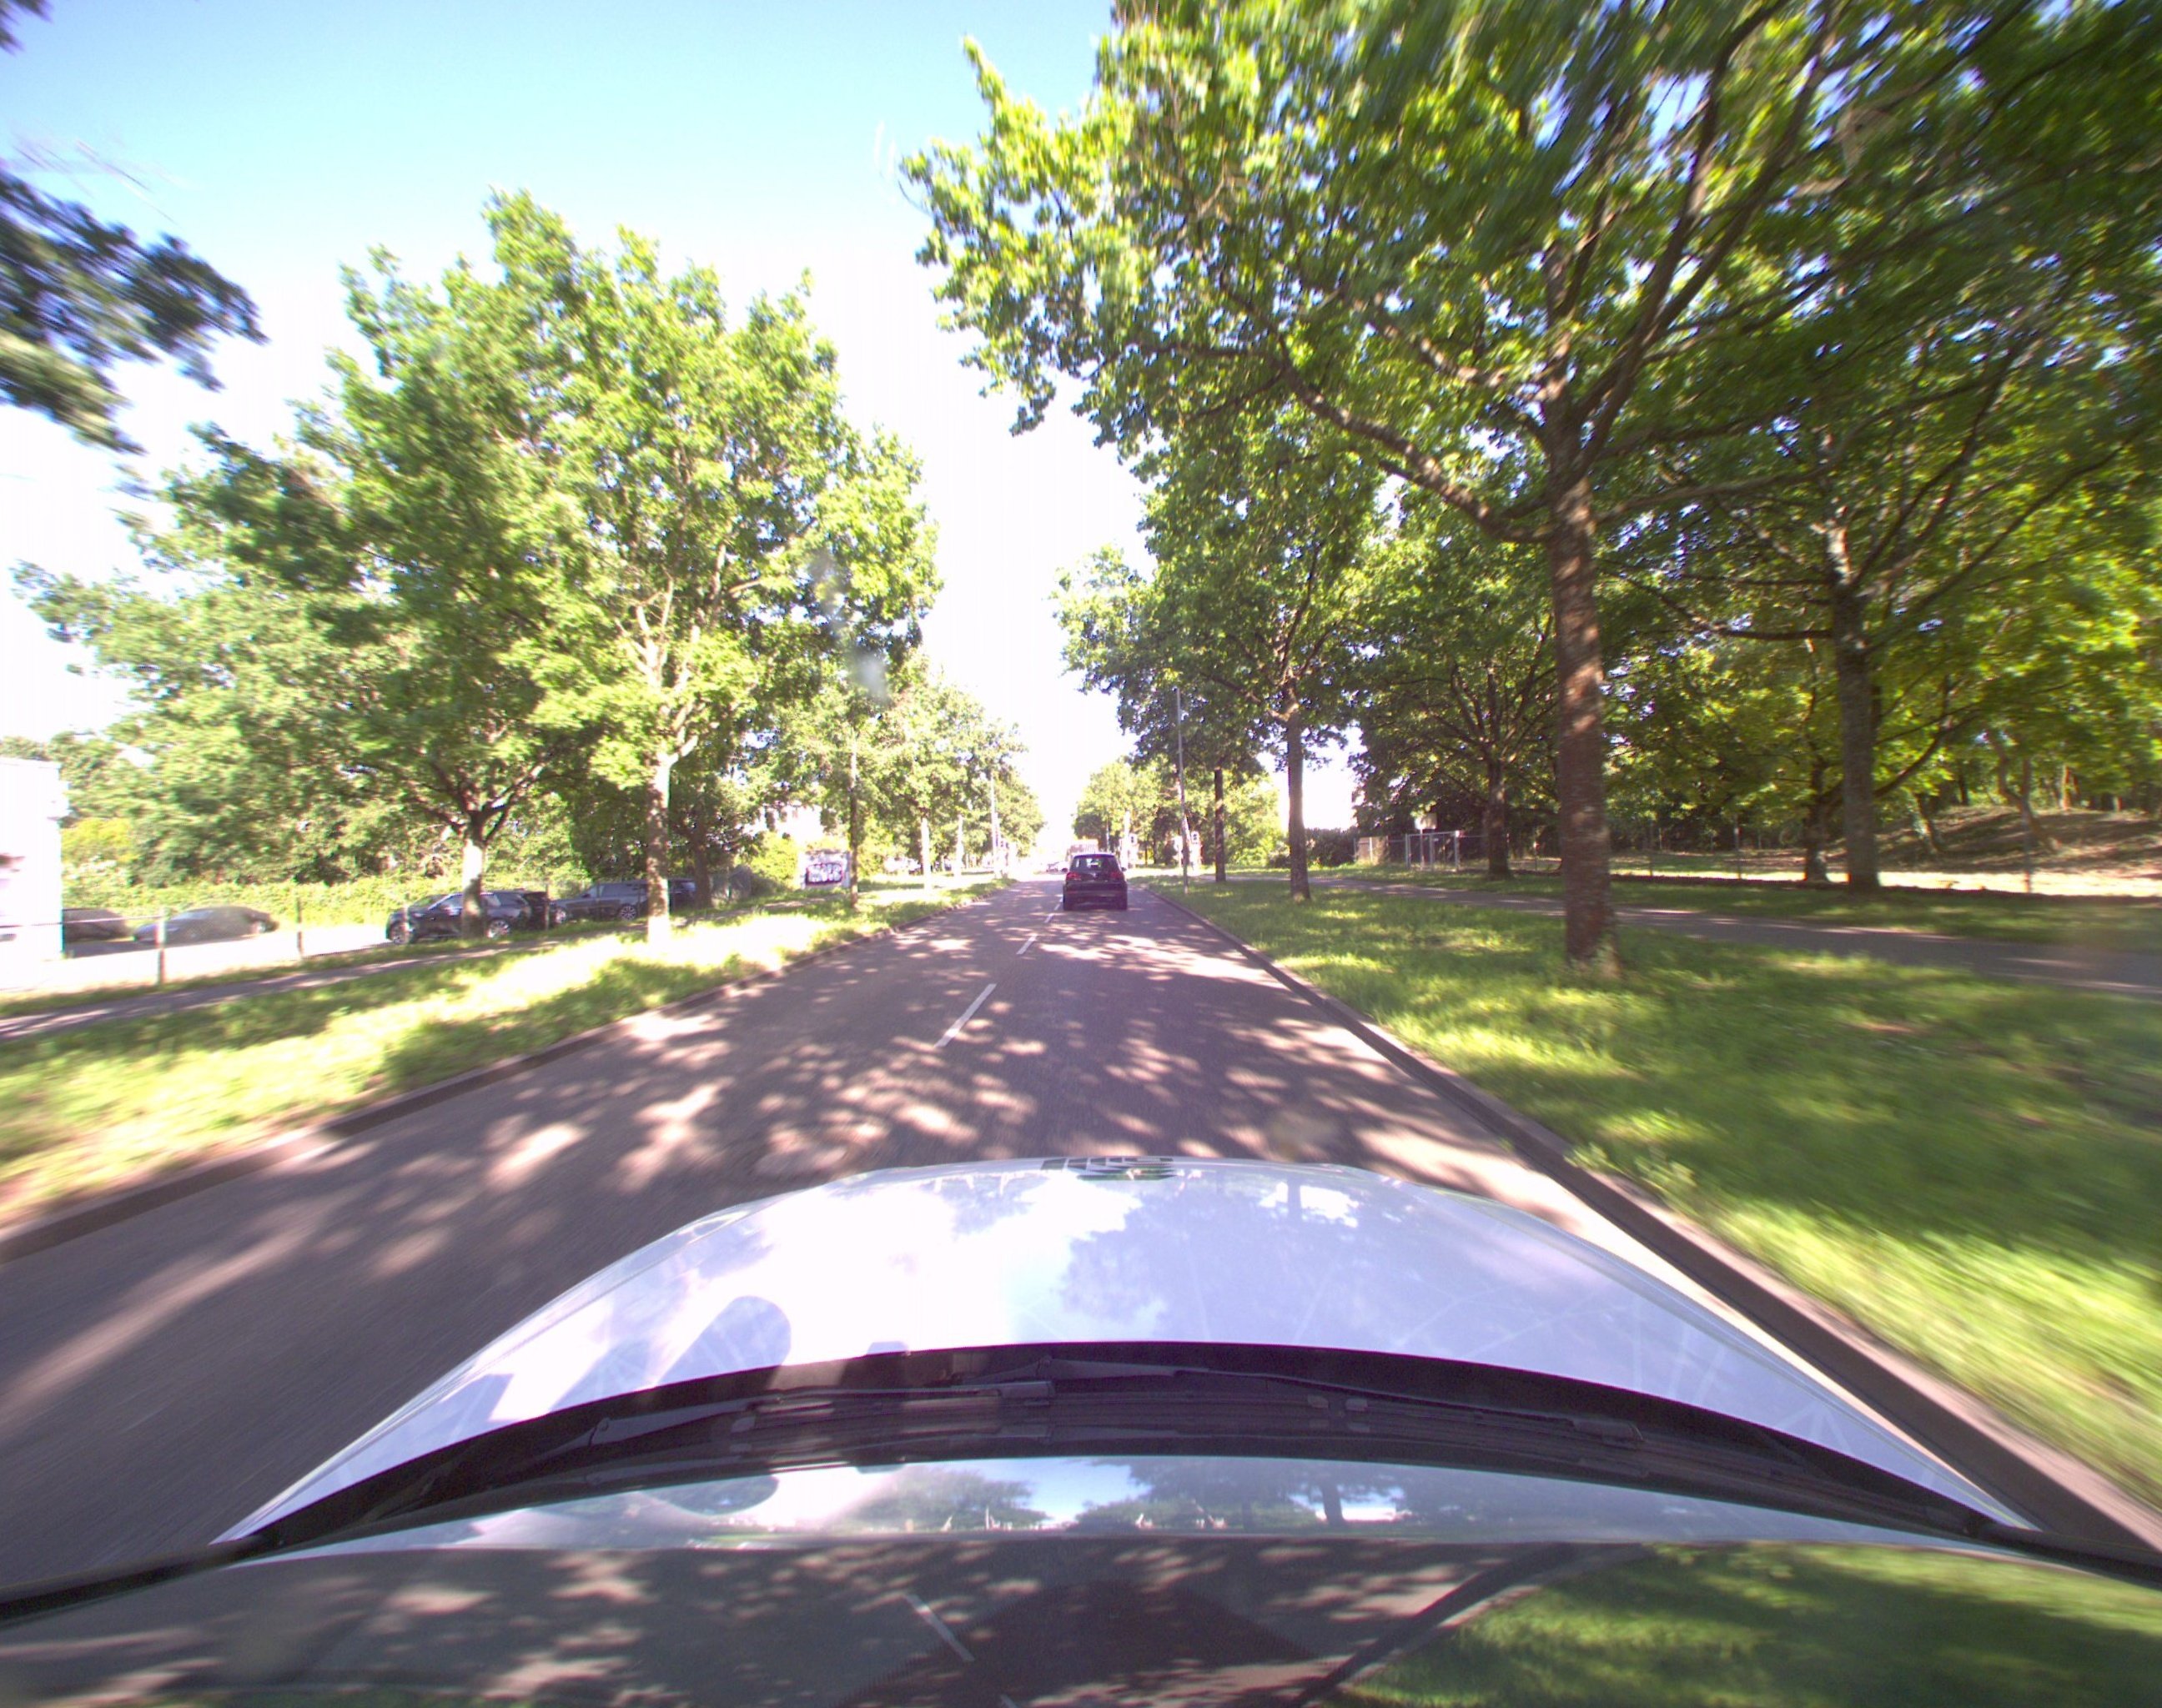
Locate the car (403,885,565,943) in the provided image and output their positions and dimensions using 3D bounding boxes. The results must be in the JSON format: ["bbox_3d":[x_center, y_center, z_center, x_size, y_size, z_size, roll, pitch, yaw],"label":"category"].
[{"bbox_3d":[-20.304,2.021,27.877,3.981,1.801,1.996,0,0,-5],"label":"car"}]

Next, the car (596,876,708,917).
[{"bbox_3d":[-20.212,1.972,38.509,4.181,1.801,1.998,0,0,-3],"label":"car"}]

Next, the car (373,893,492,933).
[{"bbox_3d":[-30.740,2.760,38.845,1.990,1.566,4.878,0,0,-4],"label":"car"}]

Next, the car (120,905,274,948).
[{"bbox_3d":[-40.738,3.297,37.762,1.990,1.566,4.878,0,0,-4],"label":"car"}]

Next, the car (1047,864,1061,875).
[{"bbox_3d":[-3.768,2.147,112.782,1.559,1.504,4.003,0,0,3],"label":"car"}]

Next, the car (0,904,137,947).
[{"bbox_3d":[-47.229,3.205,37.382,1.986,1.566,4.887,0,0,2],"label":"car"}]

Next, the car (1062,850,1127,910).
[{"bbox_3d":[0.404,0.724,24.450,1.776,1.633,4.000,0,0,1],"label":"car"}]

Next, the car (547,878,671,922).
[{"bbox_3d":[-20.581,1.981,35.660,4.181,1.801,1.998,0,0,-3],"label":"car"}]

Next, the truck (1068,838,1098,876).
[{"bbox_3d":[0.252,0.291,75.881,2.503,3.243,8.152,-2,0,1],"label":"truck"}]
